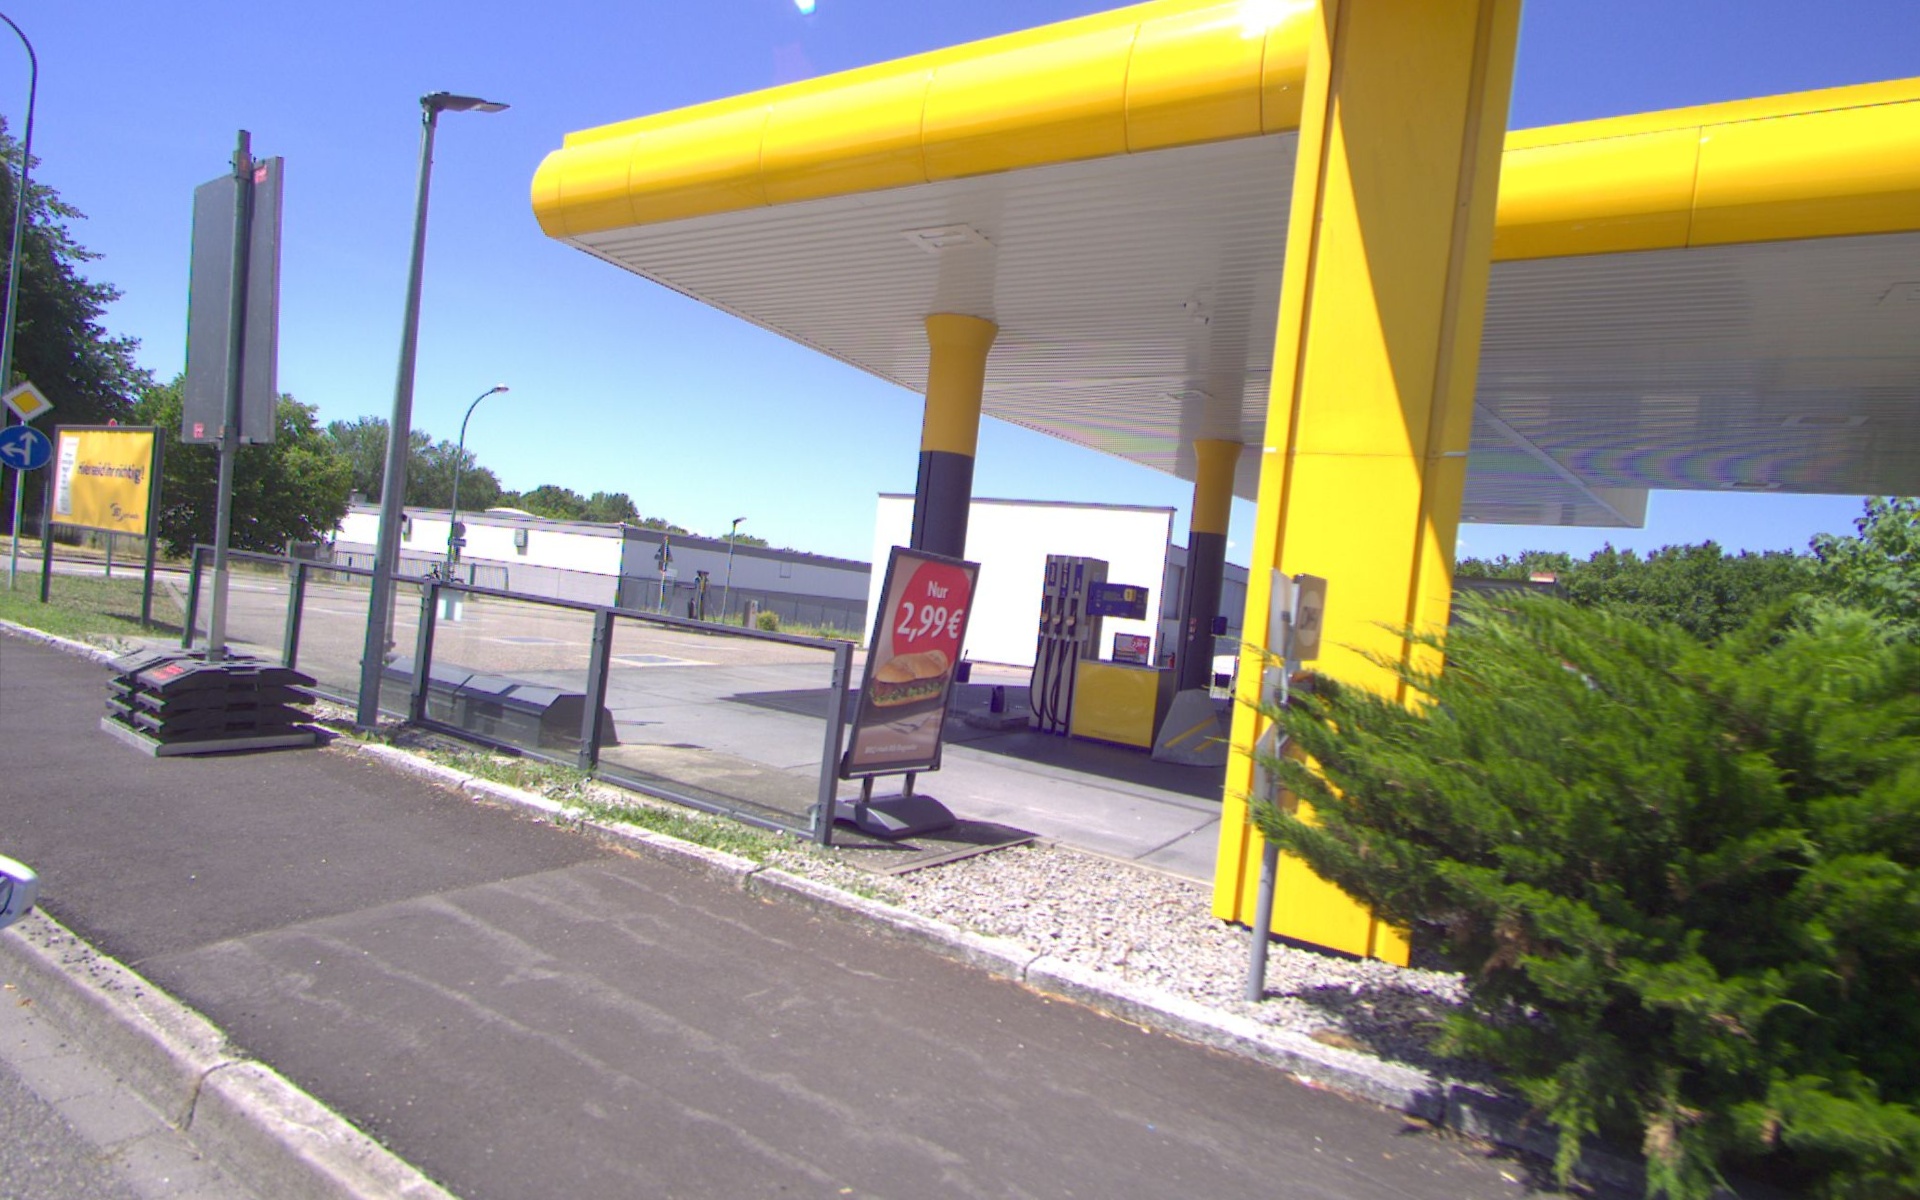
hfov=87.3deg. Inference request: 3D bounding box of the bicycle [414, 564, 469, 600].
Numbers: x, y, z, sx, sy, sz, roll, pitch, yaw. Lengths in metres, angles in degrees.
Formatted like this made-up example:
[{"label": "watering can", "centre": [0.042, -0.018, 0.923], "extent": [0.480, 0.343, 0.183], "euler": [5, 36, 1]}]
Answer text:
[{"label": "bicycle", "centre": [-18.981, -0.635, 36.854], "extent": [0.460, 1.110, 1.694], "euler": [6, -1, 36]}]
